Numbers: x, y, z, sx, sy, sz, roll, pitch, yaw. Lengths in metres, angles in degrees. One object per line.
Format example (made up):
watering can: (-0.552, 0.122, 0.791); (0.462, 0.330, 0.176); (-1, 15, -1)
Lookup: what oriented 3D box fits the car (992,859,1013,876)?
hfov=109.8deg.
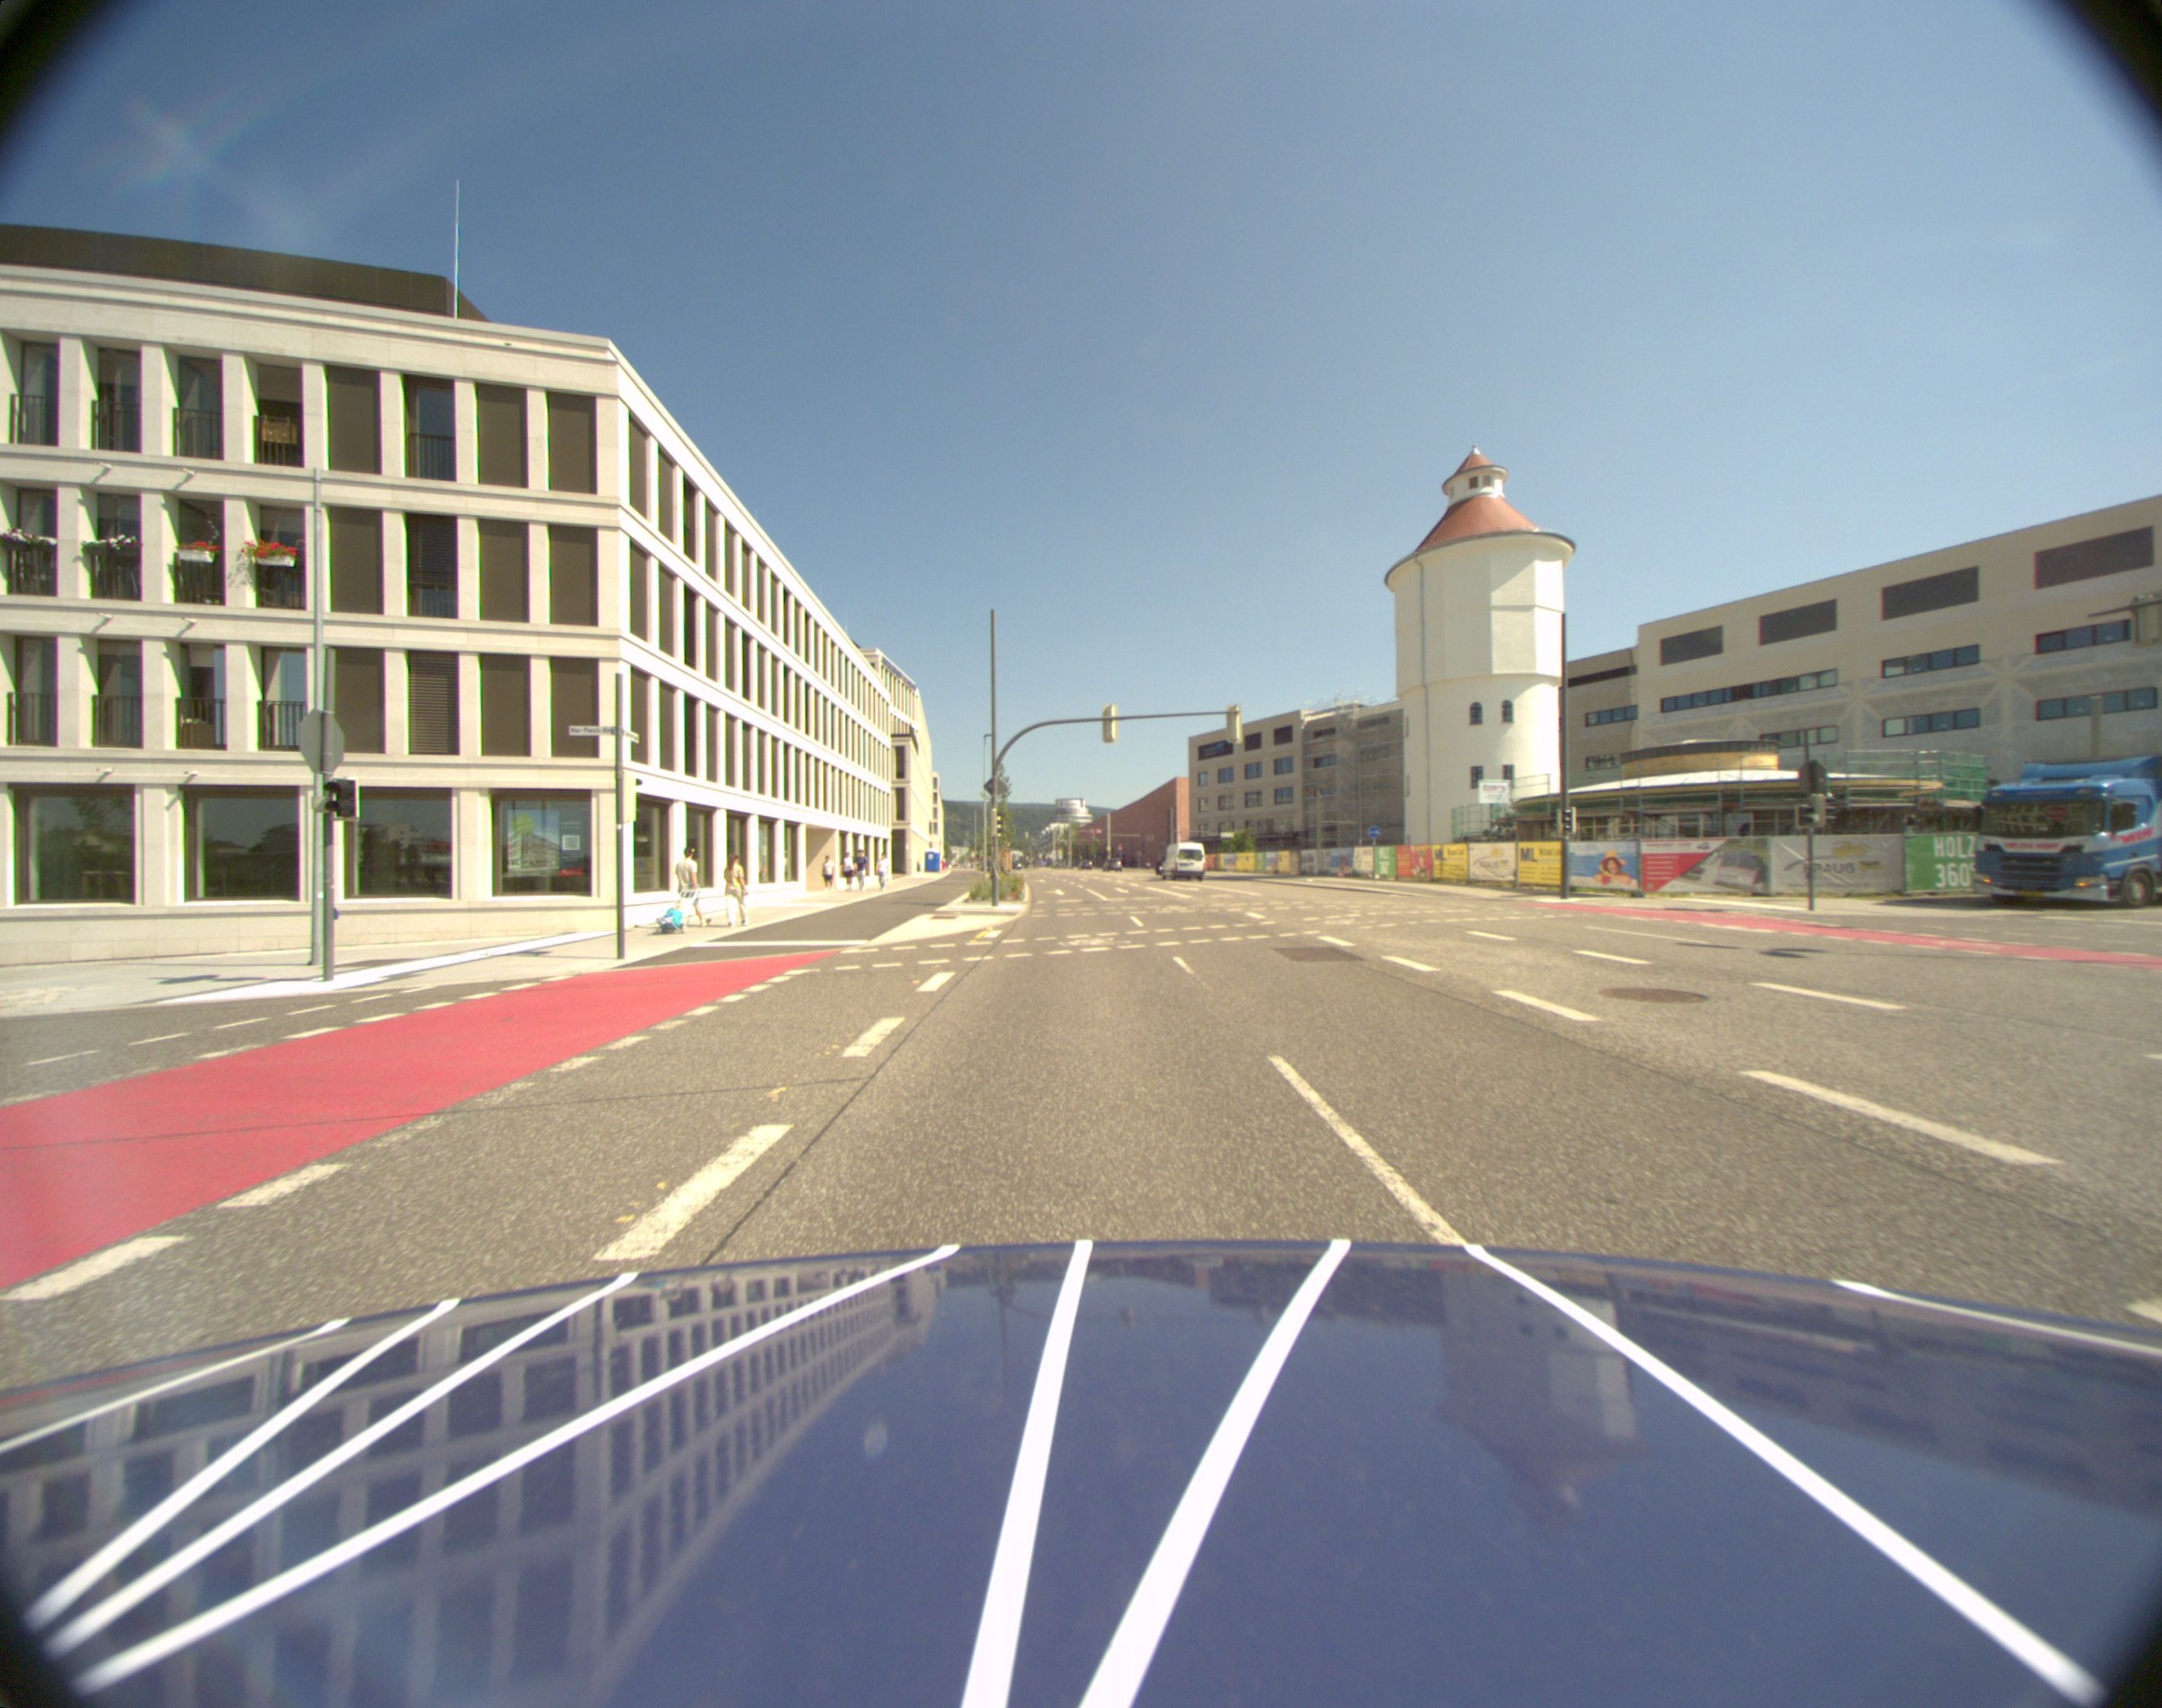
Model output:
car: (-7.489, 1.286, 73.025); (1.811, 1.499, 3.998); (-2, 0, -4)

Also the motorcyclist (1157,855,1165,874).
motorcyclist: (7.353, 0.962, 69.844); (0.620, 1.649, 0.927); (-2, 0, -3)

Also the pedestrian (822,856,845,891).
pedestrian: (-11.106, 0.850, 34.104); (0.770, 1.557, 0.842); (0, 1, -4)

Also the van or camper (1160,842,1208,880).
van or camper: (6.857, 0.426, 51.260); (2.159, 2.400, 5.679); (1, 1, -4)

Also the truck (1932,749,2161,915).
truck: (30.202, -0.757, 21.472); (10.984, 4.044, 3.298); (-2, 1, -13)

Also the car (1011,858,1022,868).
car: (-10.866, 1.548, 127.698); (1.784, 1.552, 3.830); (-2, 0, -6)

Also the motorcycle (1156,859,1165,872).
motorcycle: (7.356, 1.052, 70.331); (0.585, 1.097, 2.214); (1, 1, -2)

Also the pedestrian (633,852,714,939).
pedestrian: (-8.986, 0.875, 16.825); (0.880, 1.816, 1.664); (-2, 0, -3)

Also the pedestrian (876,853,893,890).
pedestrian: (-9.069, 0.795, 35.117); (0.578, 1.709, 0.996); (1, 1, -4)

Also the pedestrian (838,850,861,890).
pedestrian: (-10.407, 0.721, 34.191); (0.826, 1.773, 0.926); (0, 1, -4)

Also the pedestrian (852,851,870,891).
pedestrian: (-9.713, 0.746, 33.533); (0.578, 1.730, 0.996); (0, 1, -4)

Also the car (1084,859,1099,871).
car: (1.512, 1.572, 110.370); (1.935, 1.603, 3.998); (-1, 0, -4)

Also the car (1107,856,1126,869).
car: (4.334, 1.036, 93.626); (1.803, 1.581, 3.968); (1, 0, -6)

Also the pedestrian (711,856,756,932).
pedestrian: (-8.080, 0.912, 17.710); (0.702, 1.714, 0.796); (0, 1, -3)
